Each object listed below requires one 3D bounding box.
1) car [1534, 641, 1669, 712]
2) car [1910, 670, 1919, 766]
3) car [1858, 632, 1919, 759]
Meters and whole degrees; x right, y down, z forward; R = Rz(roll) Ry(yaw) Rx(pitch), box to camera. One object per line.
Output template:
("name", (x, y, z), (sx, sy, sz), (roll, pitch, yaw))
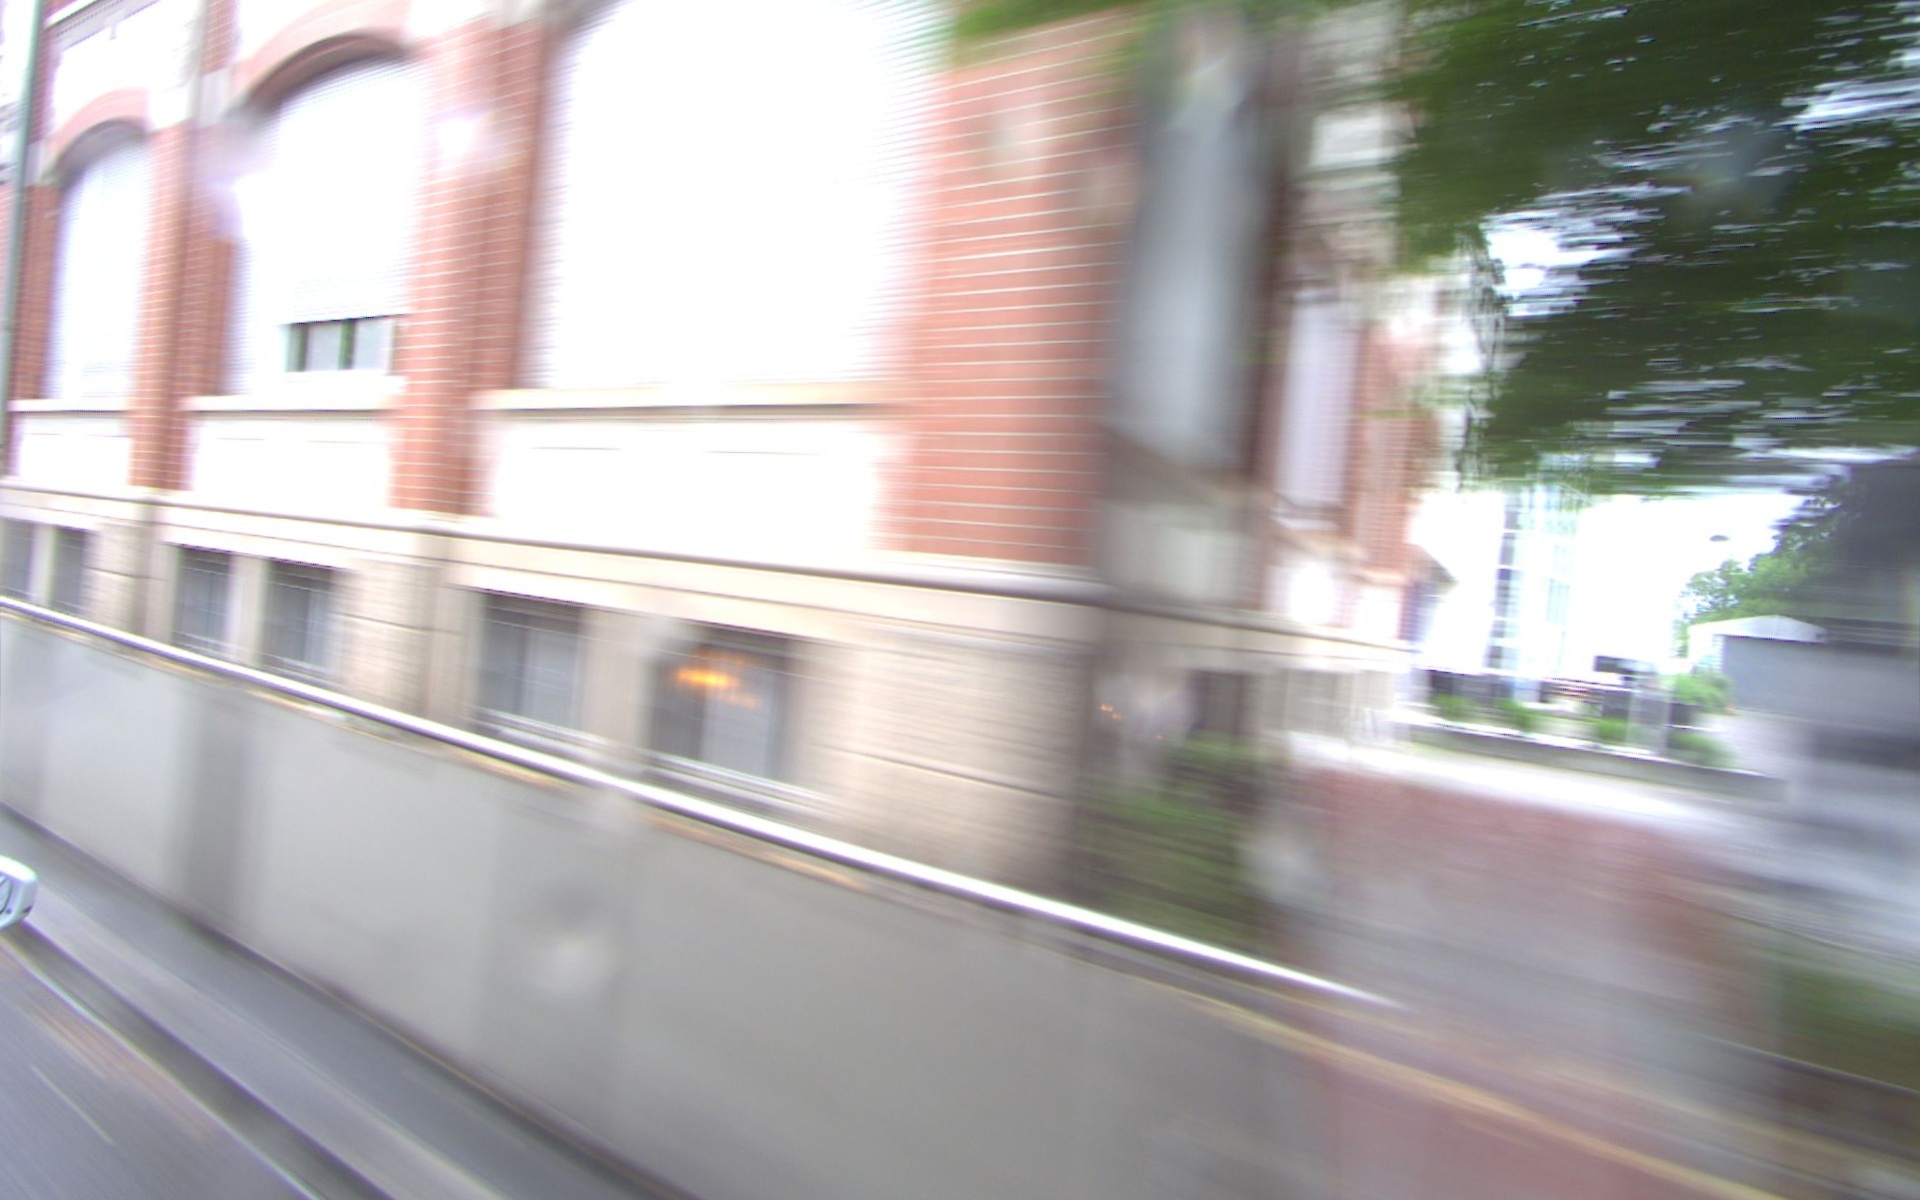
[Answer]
("car", (23.569, 2.813, 37.111), (3.934, 2.037, 1.997), (6, -2, 32))
("car", (24.753, 2.514, 21.777), (6.084, 3.160, 2.140), (7, -2, 0))
("car", (27.078, 2.788, 25.713), (6.084, 3.160, 2.140), (7, -2, 0))
